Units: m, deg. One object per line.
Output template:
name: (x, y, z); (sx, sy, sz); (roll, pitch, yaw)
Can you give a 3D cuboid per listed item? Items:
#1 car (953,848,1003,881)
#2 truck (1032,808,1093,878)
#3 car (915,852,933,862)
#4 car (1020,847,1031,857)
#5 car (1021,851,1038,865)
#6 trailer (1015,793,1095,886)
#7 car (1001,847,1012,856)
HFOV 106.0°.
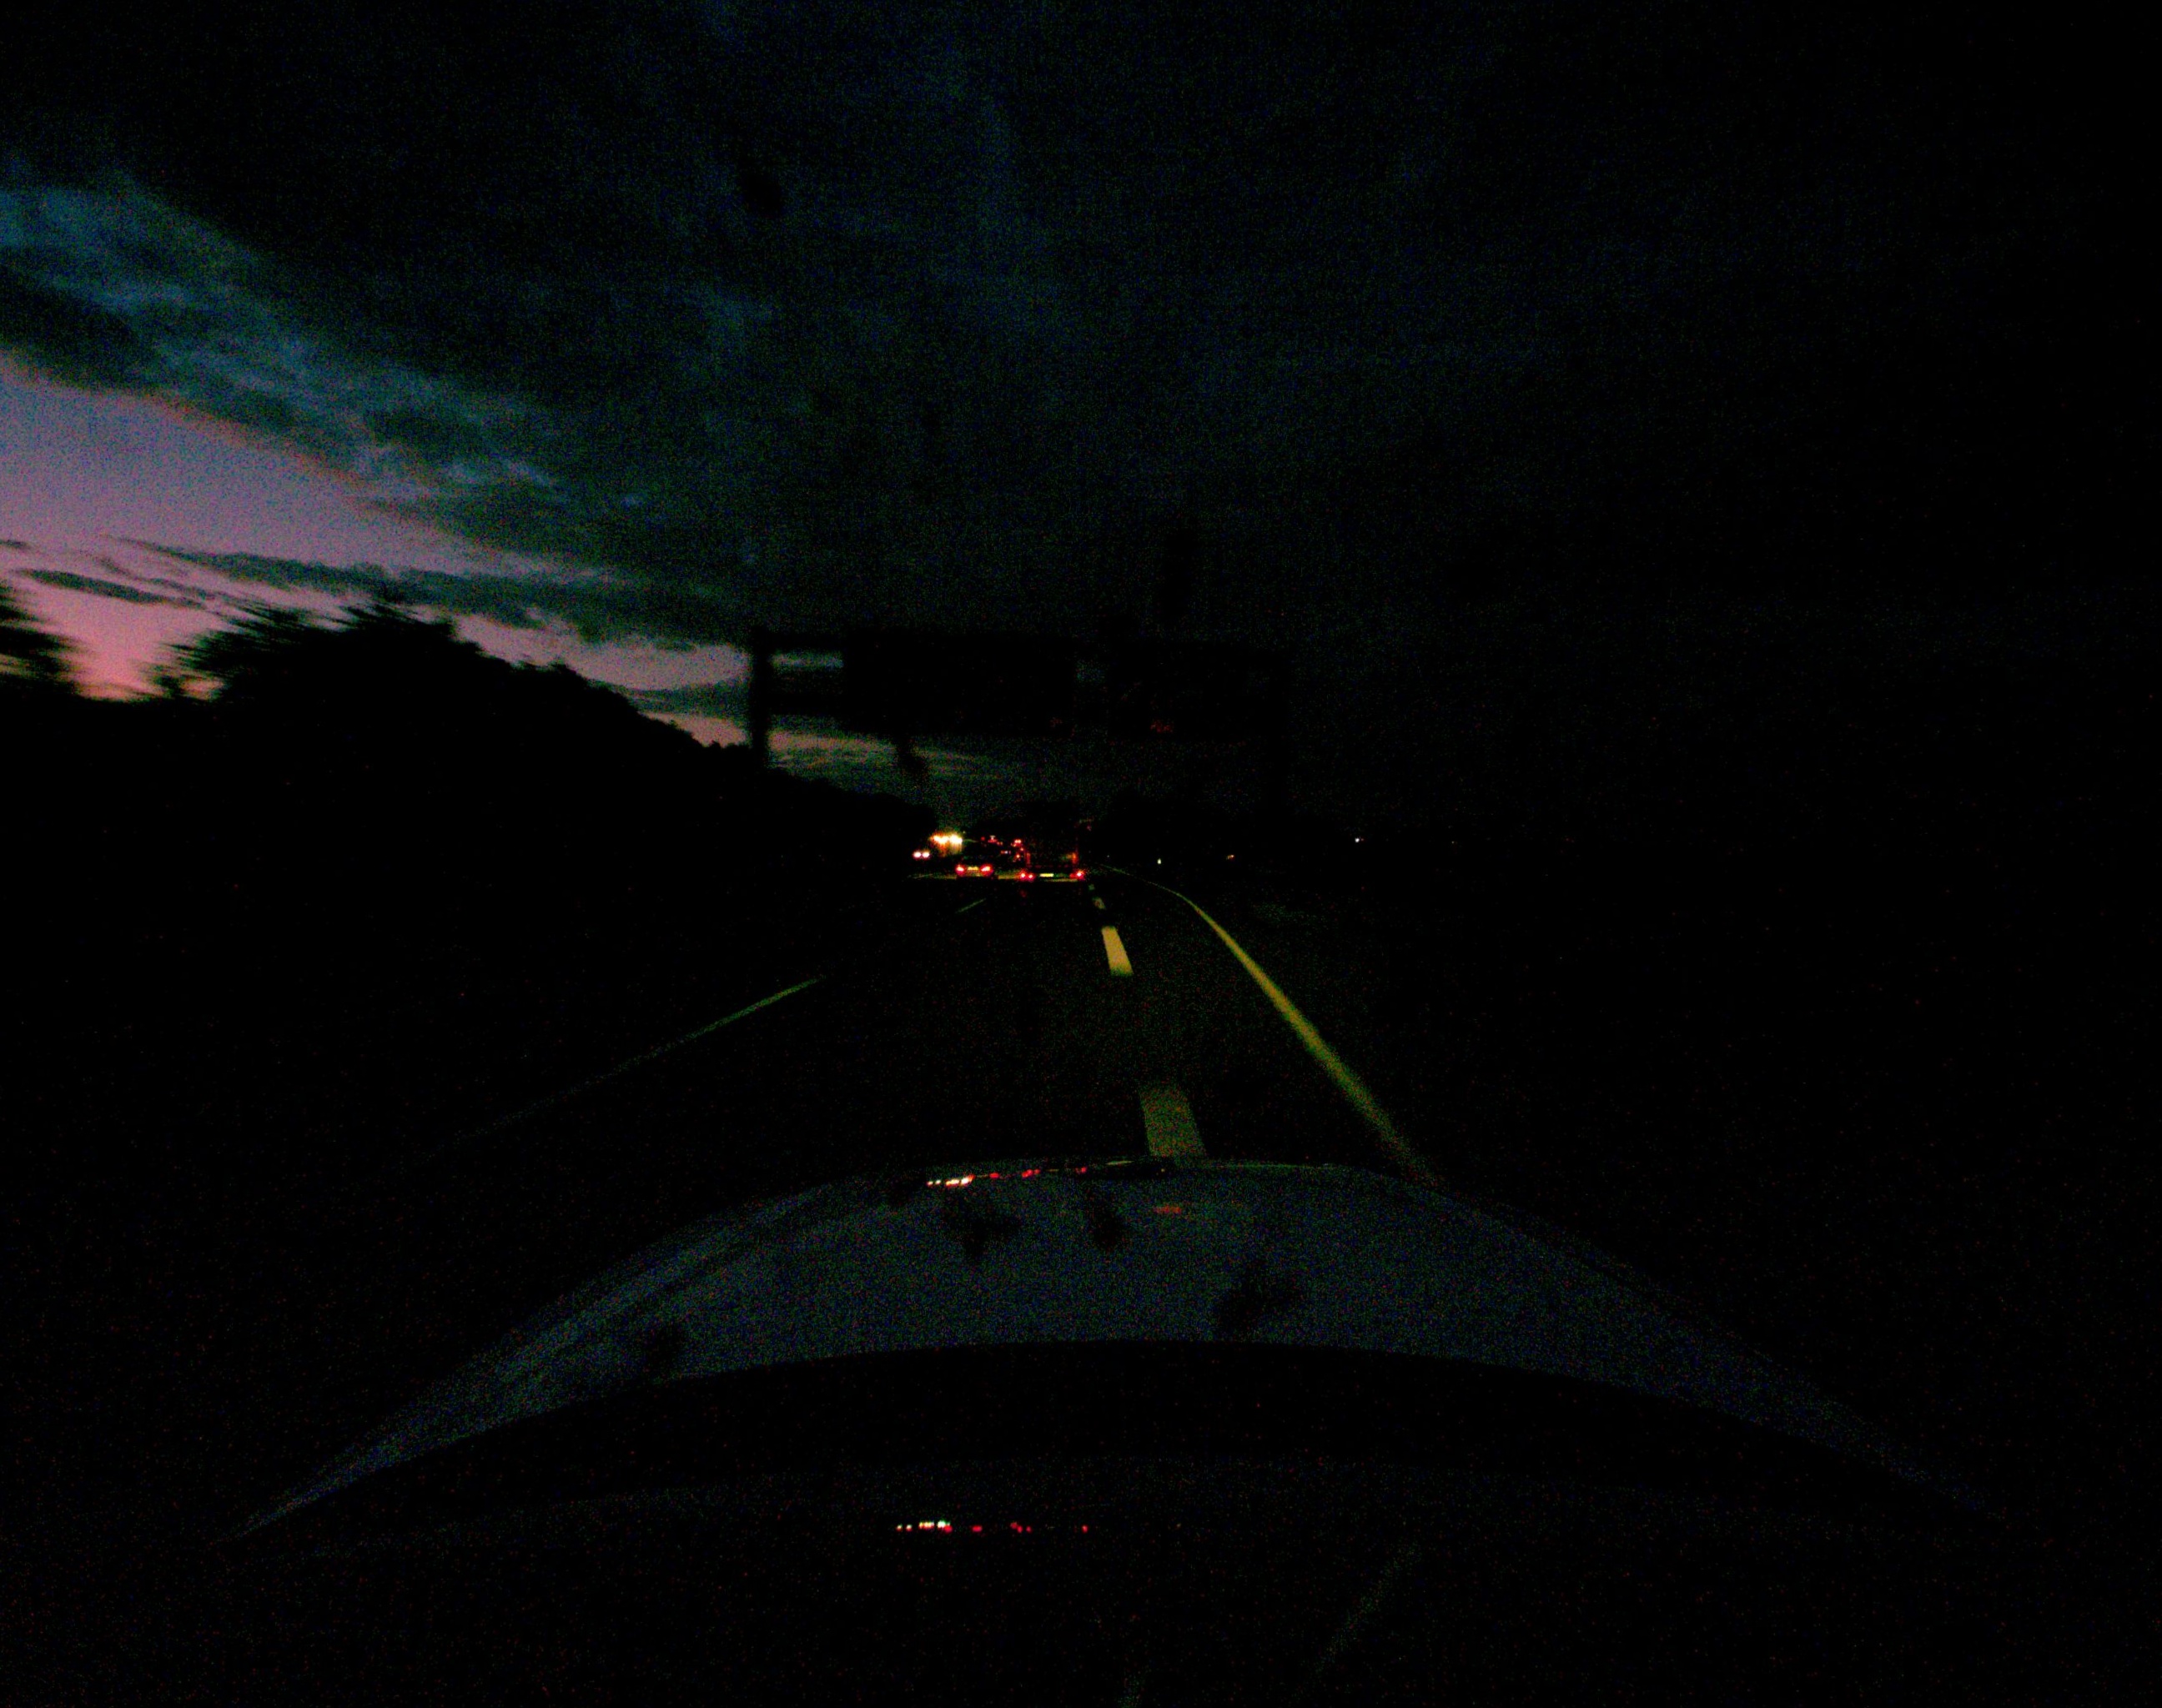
car: (-5.354, 0.599, 43.091); (1.899, 1.614, 4.804); (1, -1, 1)
truck: (-1.094, -0.668, 51.364); (3.539, 4.091, 6.150); (-1, 0, 0)
car: (-24.269, 0.458, 126.331); (1.987, 1.419, 4.150); (1, 0, -1)
car: (-11.582, -0.459, 169.222); (1.986, 2.014, 4.000); (1, -2, 1)
car: (-6.903, 0.537, 109.356); (2.060, 1.686, 4.572); (1, -2, -2)
trailer: (-1.143, -0.652, 43.972); (3.539, 4.116, 15.061); (-1, 0, 0)
car: (-13.821, -0.475, 150.773); (1.757, 1.575, 4.573); (1, -1, -1)
